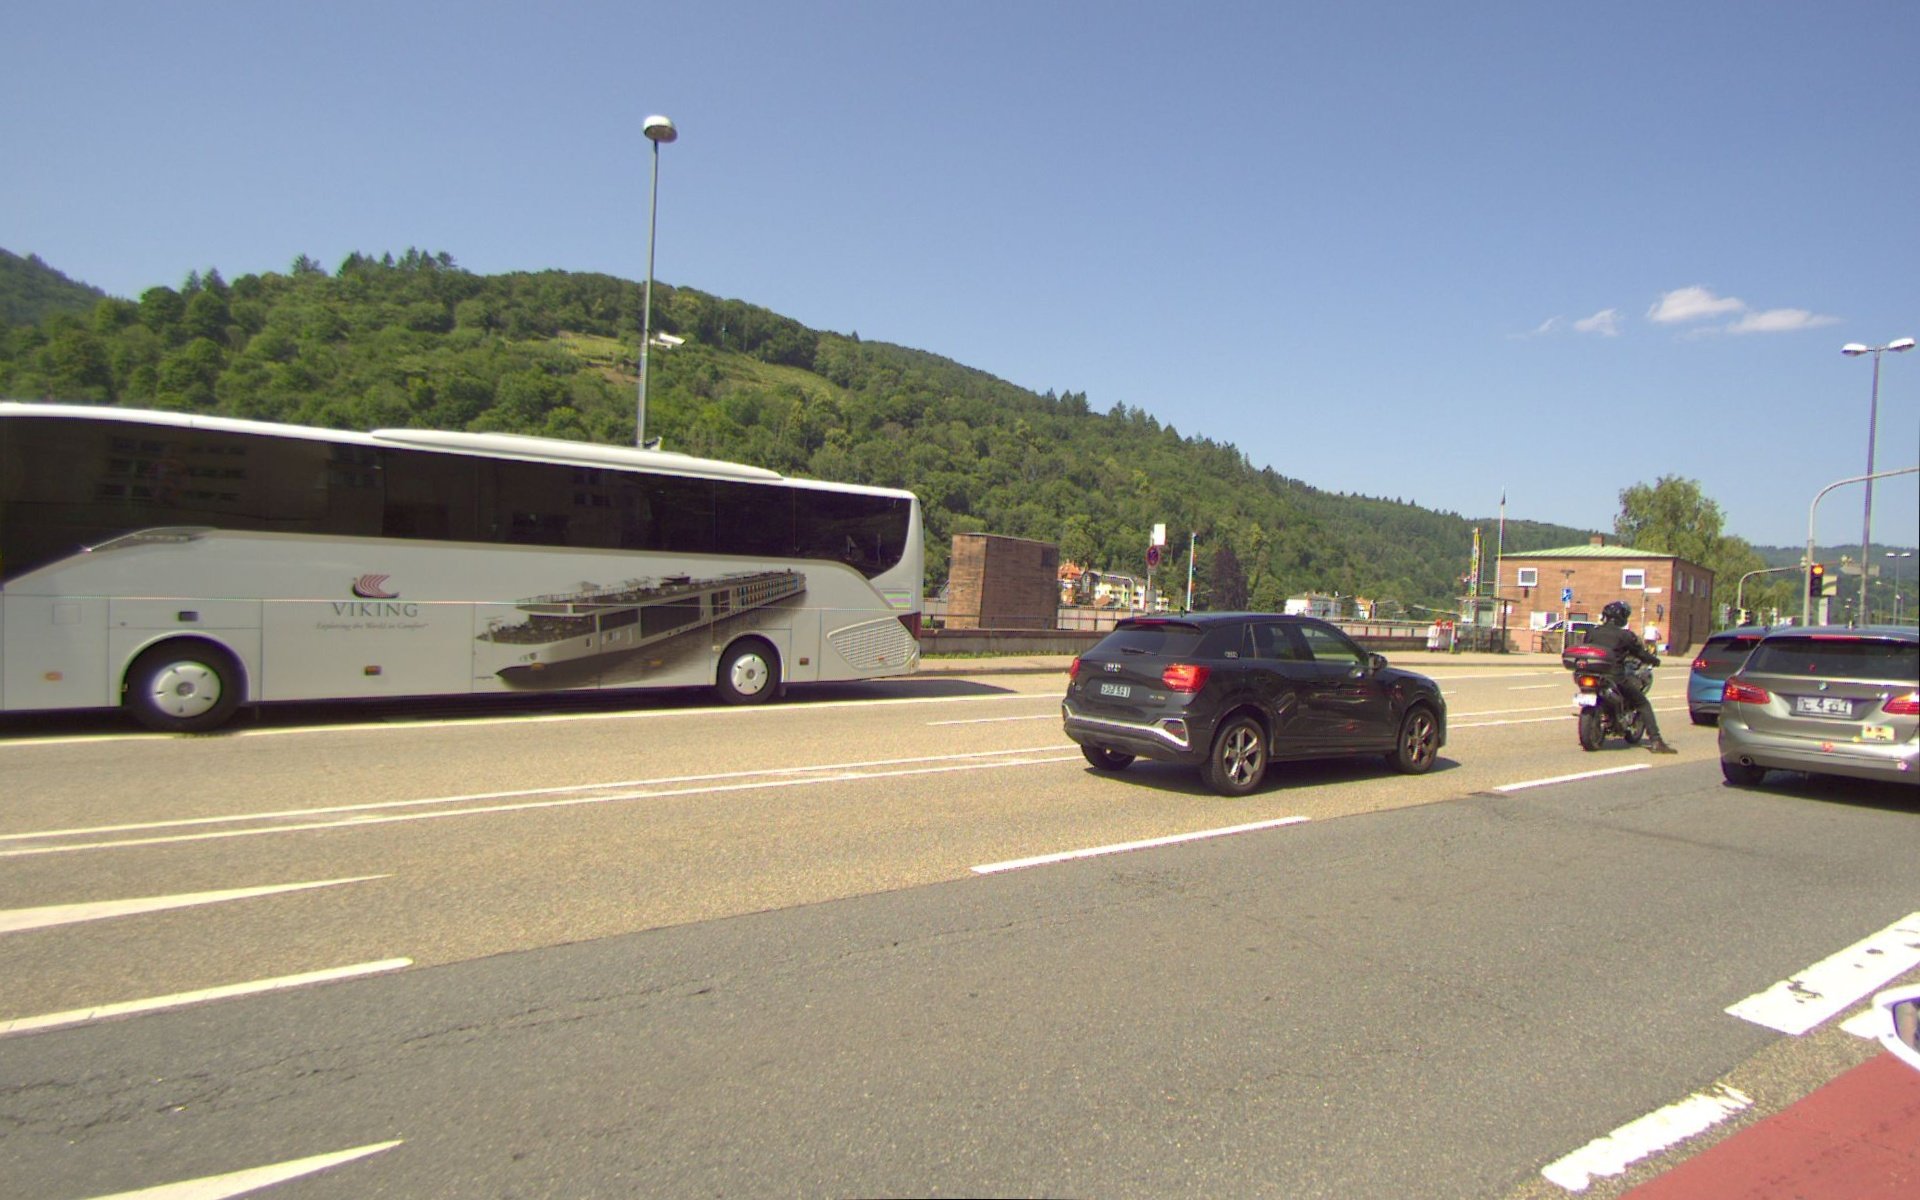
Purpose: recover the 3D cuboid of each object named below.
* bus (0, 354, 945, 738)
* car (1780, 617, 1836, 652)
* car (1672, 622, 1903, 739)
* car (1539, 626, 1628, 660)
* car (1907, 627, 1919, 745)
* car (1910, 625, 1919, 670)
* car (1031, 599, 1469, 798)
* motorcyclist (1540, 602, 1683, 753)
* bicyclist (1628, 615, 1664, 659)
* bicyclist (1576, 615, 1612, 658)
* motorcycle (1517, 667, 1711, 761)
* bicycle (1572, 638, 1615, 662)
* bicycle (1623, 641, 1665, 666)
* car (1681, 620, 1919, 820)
[{"bbox_3d":[-6.394,-0.524,14.475,13.126,3.852,2.933,1,3,-38],"label":"bus"},{"bbox_3d":[54.019,2.144,63.960,5.008,2.106,2.193,1,-1,-44],"label":"car"},{"bbox_3d":[13.098,1.179,15.848,3.960,1.583,1.854,1,-1,-35],"label":"car"},{"bbox_3d":[40.854,2.791,65.941,4.525,2.040,2.001,1,-1,15],"label":"car"},{"bbox_3d":[15.100,1.179,13.876,4.809,1.554,1.981,1,-1,-35],"label":"car"},{"bbox_3d":[58.584,2.819,59.908,2.355,2.610,6.027,1,-1,40],"label":"car"},{"bbox_3d":[2.881,0.828,9.689,4.107,1.534,1.858,2,-1,-34],"label":"car"},{"bbox_3d":[7.843,0.885,12.099,1.144,1.707,1.069,1,0,-33],"label":"motorcyclist"},{"bbox_3d":[33.212,1.784,48.645,1.111,2.040,1.201,2,-1,-43],"label":"bicyclist"},{"bbox_3d":[30.744,1.763,48.714,1.111,2.040,1.201,2,-1,-43],"label":"bicyclist"},{"bbox_3d":[7.962,1.327,12.182,2.577,0.932,1.032,1,-1,-34],"label":"motorcycle"},{"bbox_3d":[30.752,2.413,48.731,2.580,1.105,1.201,2,-1,-44],"label":"bicycle"},{"bbox_3d":[33.023,2.575,48.489,2.580,1.105,1.201,2,-1,-44],"label":"bicycle"},{"bbox_3d":[9.040,1.039,9.776,4.260,1.541,1.877,2,0,-33],"label":"car"}]
